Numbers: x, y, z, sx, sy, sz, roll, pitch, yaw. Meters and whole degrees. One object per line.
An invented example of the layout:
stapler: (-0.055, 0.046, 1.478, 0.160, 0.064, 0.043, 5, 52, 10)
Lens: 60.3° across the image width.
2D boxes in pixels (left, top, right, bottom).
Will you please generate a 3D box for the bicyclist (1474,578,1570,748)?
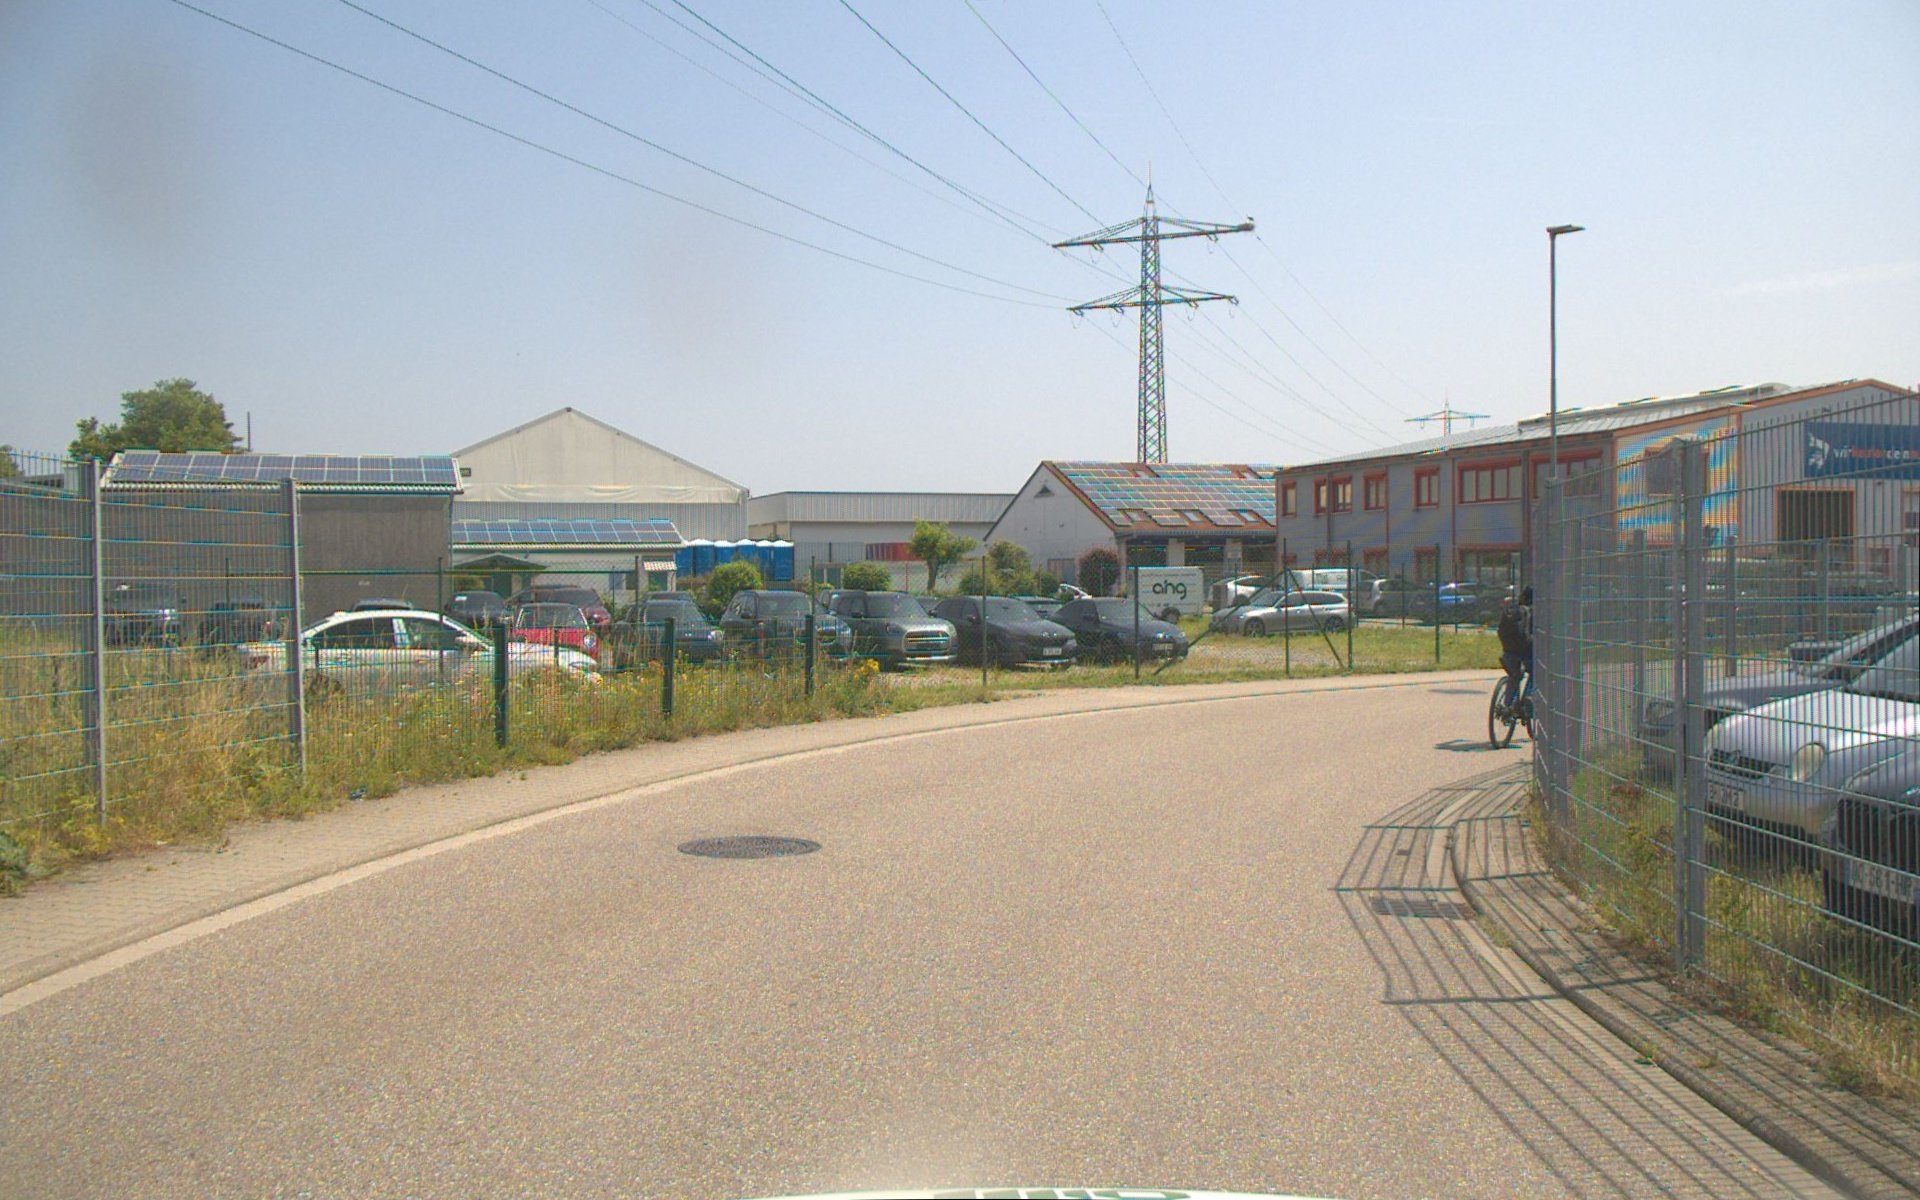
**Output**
bicyclist: (5.686, 0.610, 16.779, 0.824, 1.646, 1.040, 1, 1, 15)

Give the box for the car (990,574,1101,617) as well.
car: (3.330, -0.187, 64.468, 3.927, 1.626, 1.866, 0, 0, -20)

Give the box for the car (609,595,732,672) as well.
car: (-5.974, 0.644, 33.840, 1.836, 1.458, 3.626, 0, 0, -21)

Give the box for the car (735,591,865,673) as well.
car: (-3.401, 0.619, 34.598, 1.836, 1.588, 3.674, 0, 0, -21)

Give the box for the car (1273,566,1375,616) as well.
car: (15.242, -0.382, 69.216, 3.839, 2.013, 1.811, -1, 1, -22)

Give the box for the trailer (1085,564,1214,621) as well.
trailer: (6.823, -0.268, 59.641, 4.362, 1.979, 1.712, -1, 1, -6)

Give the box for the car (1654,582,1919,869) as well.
car: (5.894, 0.620, 9.194, 3.393, 1.447, 1.636, 0, 0, -1)

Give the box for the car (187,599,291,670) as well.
car: (-15.801, 0.712, 36.184, 1.841, 1.439, 3.409, 0, 0, -28)

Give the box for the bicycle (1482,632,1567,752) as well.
bicycle: (5.723, 0.901, 16.847, 0.670, 1.069, 1.902, 1, 1, 15)

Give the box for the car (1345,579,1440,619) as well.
car: (17.511, -0.064, 67.002, 3.541, 1.571, 1.498, -1, 1, -22)

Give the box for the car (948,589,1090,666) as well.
car: (1.236, 0.561, 36.457, 1.836, 1.581, 3.747, 0, 0, -21)

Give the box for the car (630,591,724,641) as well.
car: (-8.683, 0.456, 50.465, 1.967, 1.460, 4.636, 0, 0, -21)

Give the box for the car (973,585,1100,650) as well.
car: (1.934, 0.422, 43.318, 1.964, 1.460, 4.402, 0, 2, -17)

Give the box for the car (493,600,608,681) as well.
car: (-8.198, 0.760, 32.927, 1.836, 1.479, 3.419, 0, 0, -21)

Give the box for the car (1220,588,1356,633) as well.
car: (9.912, 0.306, 49.932, 4.071, 1.283, 1.227, -1, 1, -22)

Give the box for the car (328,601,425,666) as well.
car: (-12.950, 0.707, 36.587, 1.837, 1.321, 3.417, 0, 0, -23)

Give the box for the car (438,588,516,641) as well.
car: (-14.102, 0.400, 48.187, 1.836, 1.458, 4.575, 0, 0, -21)

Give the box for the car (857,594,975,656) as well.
car: (-1.179, 0.602, 42.234, 1.963, 1.445, 3.979, -1, 1, -18)

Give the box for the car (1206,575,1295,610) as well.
car: (13.335, -0.362, 75.942, 3.839, 1.542, 1.498, -1, 1, -22)

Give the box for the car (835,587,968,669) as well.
car: (-1.325, 0.555, 35.776, 1.836, 1.672, 3.611, 0, 0, -21)

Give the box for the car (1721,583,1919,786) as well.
car: (7.870, 0.586, 11.796, 4.267, 1.419, 1.612, 0, 1, 33)

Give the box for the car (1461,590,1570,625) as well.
car: (19.678, 0.243, 58.603, 3.541, 1.171, 1.498, -1, 1, -22)

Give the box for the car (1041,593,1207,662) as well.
car: (3.691, 0.583, 38.097, 1.967, 1.460, 4.636, 0, 0, -21)

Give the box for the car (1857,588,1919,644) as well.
car: (26.204, 0.391, 44.572, 3.541, 1.429, 1.740, -1, 1, -22)

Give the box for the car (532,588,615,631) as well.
car: (-11.577, 0.253, 49.383, 1.836, 1.196, 4.575, 0, 0, -21)

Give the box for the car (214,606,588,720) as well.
car: (-7.293, 0.775, 21.804, 4.482, 1.330, 1.857, 0, 0, -21)

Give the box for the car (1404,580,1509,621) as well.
car: (18.279, 0.015, 60.908, 3.541, 1.441, 1.498, -1, 1, -22)

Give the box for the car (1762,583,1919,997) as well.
car: (5.702, 0.677, 6.283, 4.444, 1.500, 1.825, 0, 0, -1)
